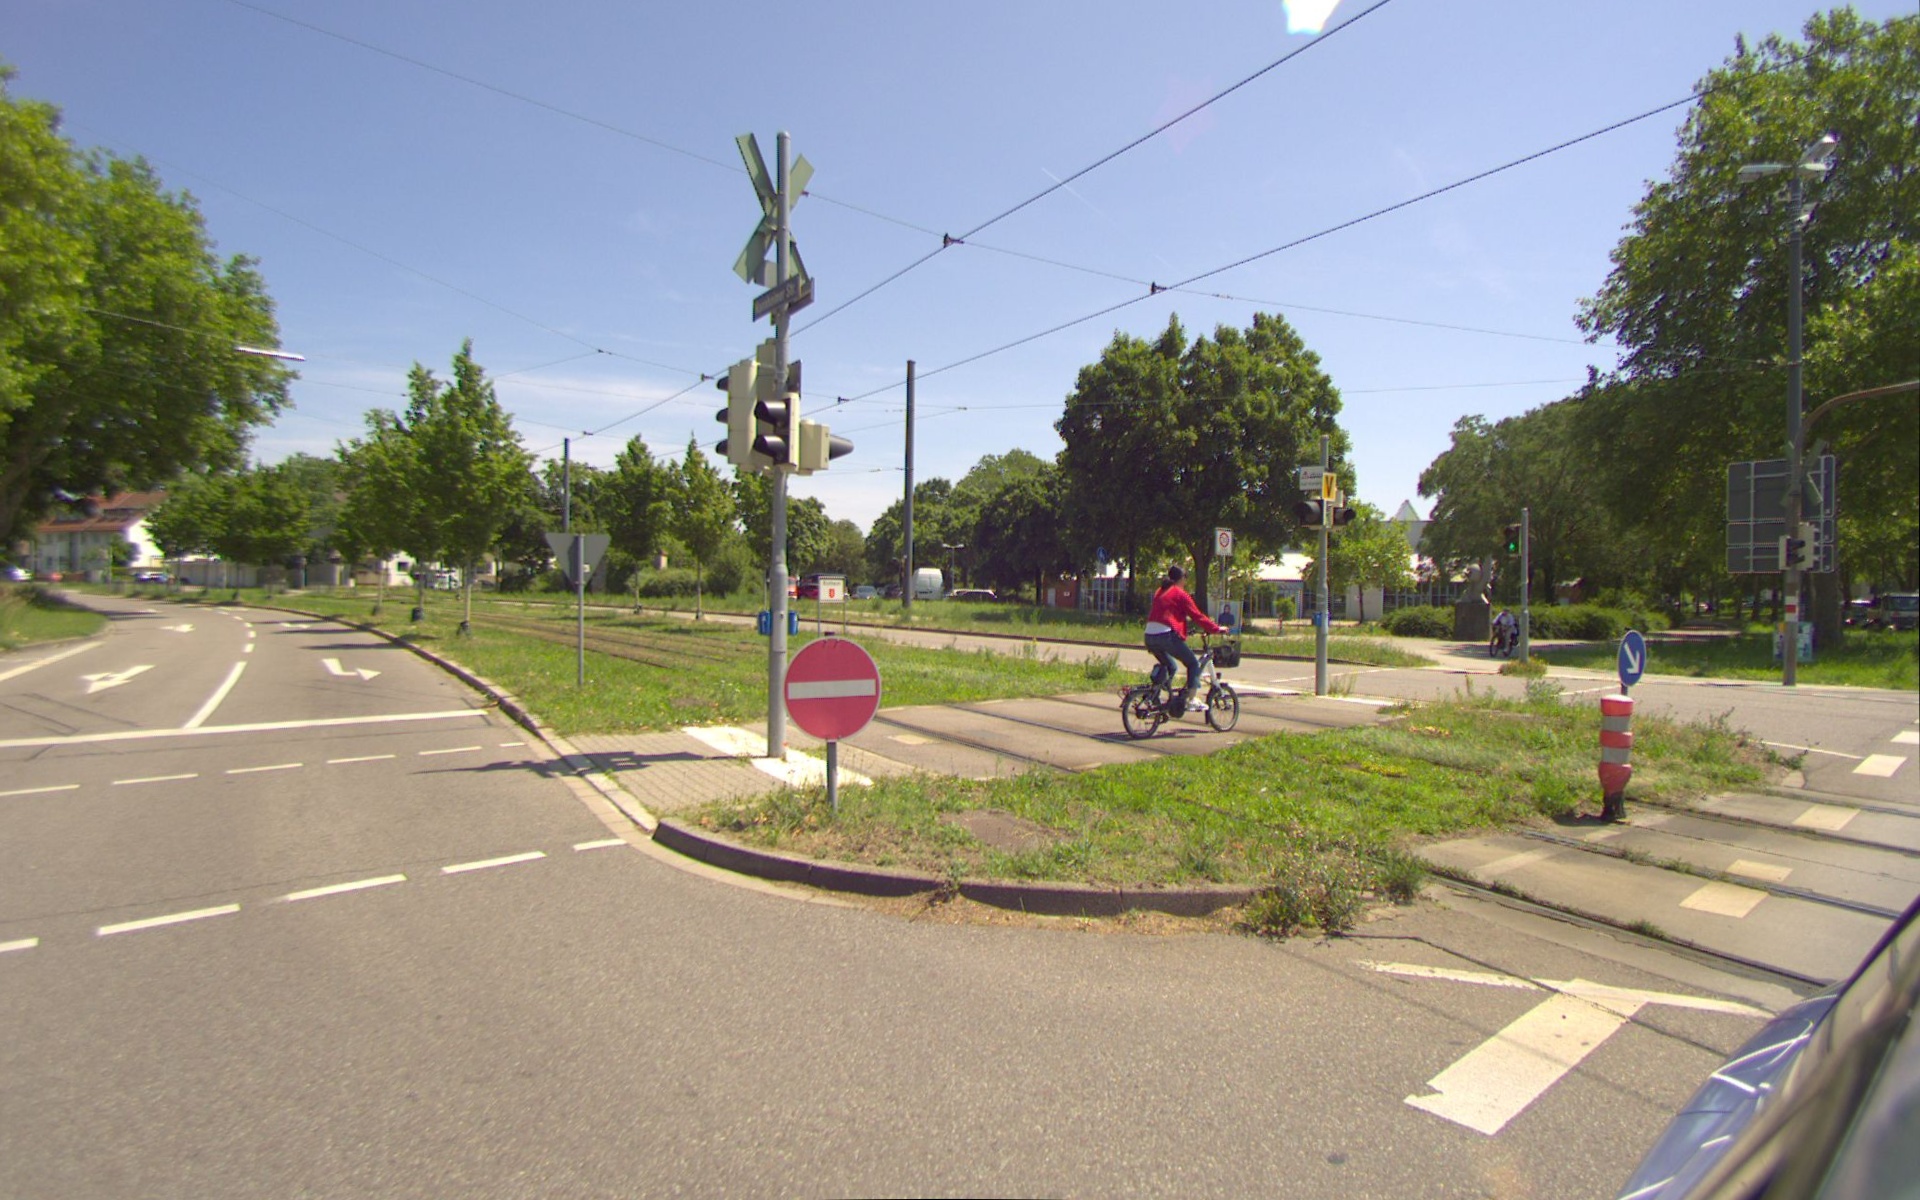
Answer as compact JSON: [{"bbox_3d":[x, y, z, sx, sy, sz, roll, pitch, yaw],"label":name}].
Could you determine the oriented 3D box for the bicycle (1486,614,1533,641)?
[{"bbox_3d":[16.434,0.804,30.253,1.635,0.774,0.466,1,0,-30],"label":"bicycle"}]

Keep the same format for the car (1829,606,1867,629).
[{"bbox_3d":[73.643,1.427,83.981,1.988,1.861,3.949,1,0,35],"label":"car"}]

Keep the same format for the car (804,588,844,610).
[{"bbox_3d":[-10.617,-0.093,78.841,3.017,1.624,1.516,1,0,-9],"label":"car"}]

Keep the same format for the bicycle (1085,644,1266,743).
[{"bbox_3d":[2.206,0.926,10.320,1.773,0.907,0.590,1,0,-23],"label":"bicycle"}]

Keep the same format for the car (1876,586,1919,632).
[{"bbox_3d":[58.555,0.527,62.315,2.907,2.688,6.273,1,0,40],"label":"car"}]

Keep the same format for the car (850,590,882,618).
[{"bbox_3d":[-6.255,0.245,66.998,1.916,1.740,4.077,1,0,-8],"label":"car"}]

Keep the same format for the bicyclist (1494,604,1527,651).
[{"bbox_3d":[16.464,0.816,30.282,0.653,1.356,0.601,1,0,-30],"label":"bicyclist"}]

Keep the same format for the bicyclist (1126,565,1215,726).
[{"bbox_3d":[2.135,0.444,10.290,0.659,1.576,0.580,1,0,-23],"label":"bicyclist"}]

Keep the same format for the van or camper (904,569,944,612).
[{"bbox_3d":[-2.511,-0.647,69.498,2.158,2.786,5.137,1,0,-8],"label":"van or camper"}]

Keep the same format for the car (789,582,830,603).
[{"bbox_3d":[-15.310,-0.786,103.061,3.916,2.039,1.971,1,0,-13],"label":"car"}]

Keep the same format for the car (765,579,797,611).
[{"bbox_3d":[-11.981,-0.342,67.978,2.031,2.028,4.670,1,0,-9],"label":"car"}]

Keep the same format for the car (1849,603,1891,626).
[{"bbox_3d":[67.837,1.037,75.483,1.989,1.638,3.946,1,0,37],"label":"car"}]

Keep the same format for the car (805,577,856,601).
[{"bbox_3d":[-11.662,-0.994,91.269,4.330,2.039,2.251,1,0,-13],"label":"car"}]
